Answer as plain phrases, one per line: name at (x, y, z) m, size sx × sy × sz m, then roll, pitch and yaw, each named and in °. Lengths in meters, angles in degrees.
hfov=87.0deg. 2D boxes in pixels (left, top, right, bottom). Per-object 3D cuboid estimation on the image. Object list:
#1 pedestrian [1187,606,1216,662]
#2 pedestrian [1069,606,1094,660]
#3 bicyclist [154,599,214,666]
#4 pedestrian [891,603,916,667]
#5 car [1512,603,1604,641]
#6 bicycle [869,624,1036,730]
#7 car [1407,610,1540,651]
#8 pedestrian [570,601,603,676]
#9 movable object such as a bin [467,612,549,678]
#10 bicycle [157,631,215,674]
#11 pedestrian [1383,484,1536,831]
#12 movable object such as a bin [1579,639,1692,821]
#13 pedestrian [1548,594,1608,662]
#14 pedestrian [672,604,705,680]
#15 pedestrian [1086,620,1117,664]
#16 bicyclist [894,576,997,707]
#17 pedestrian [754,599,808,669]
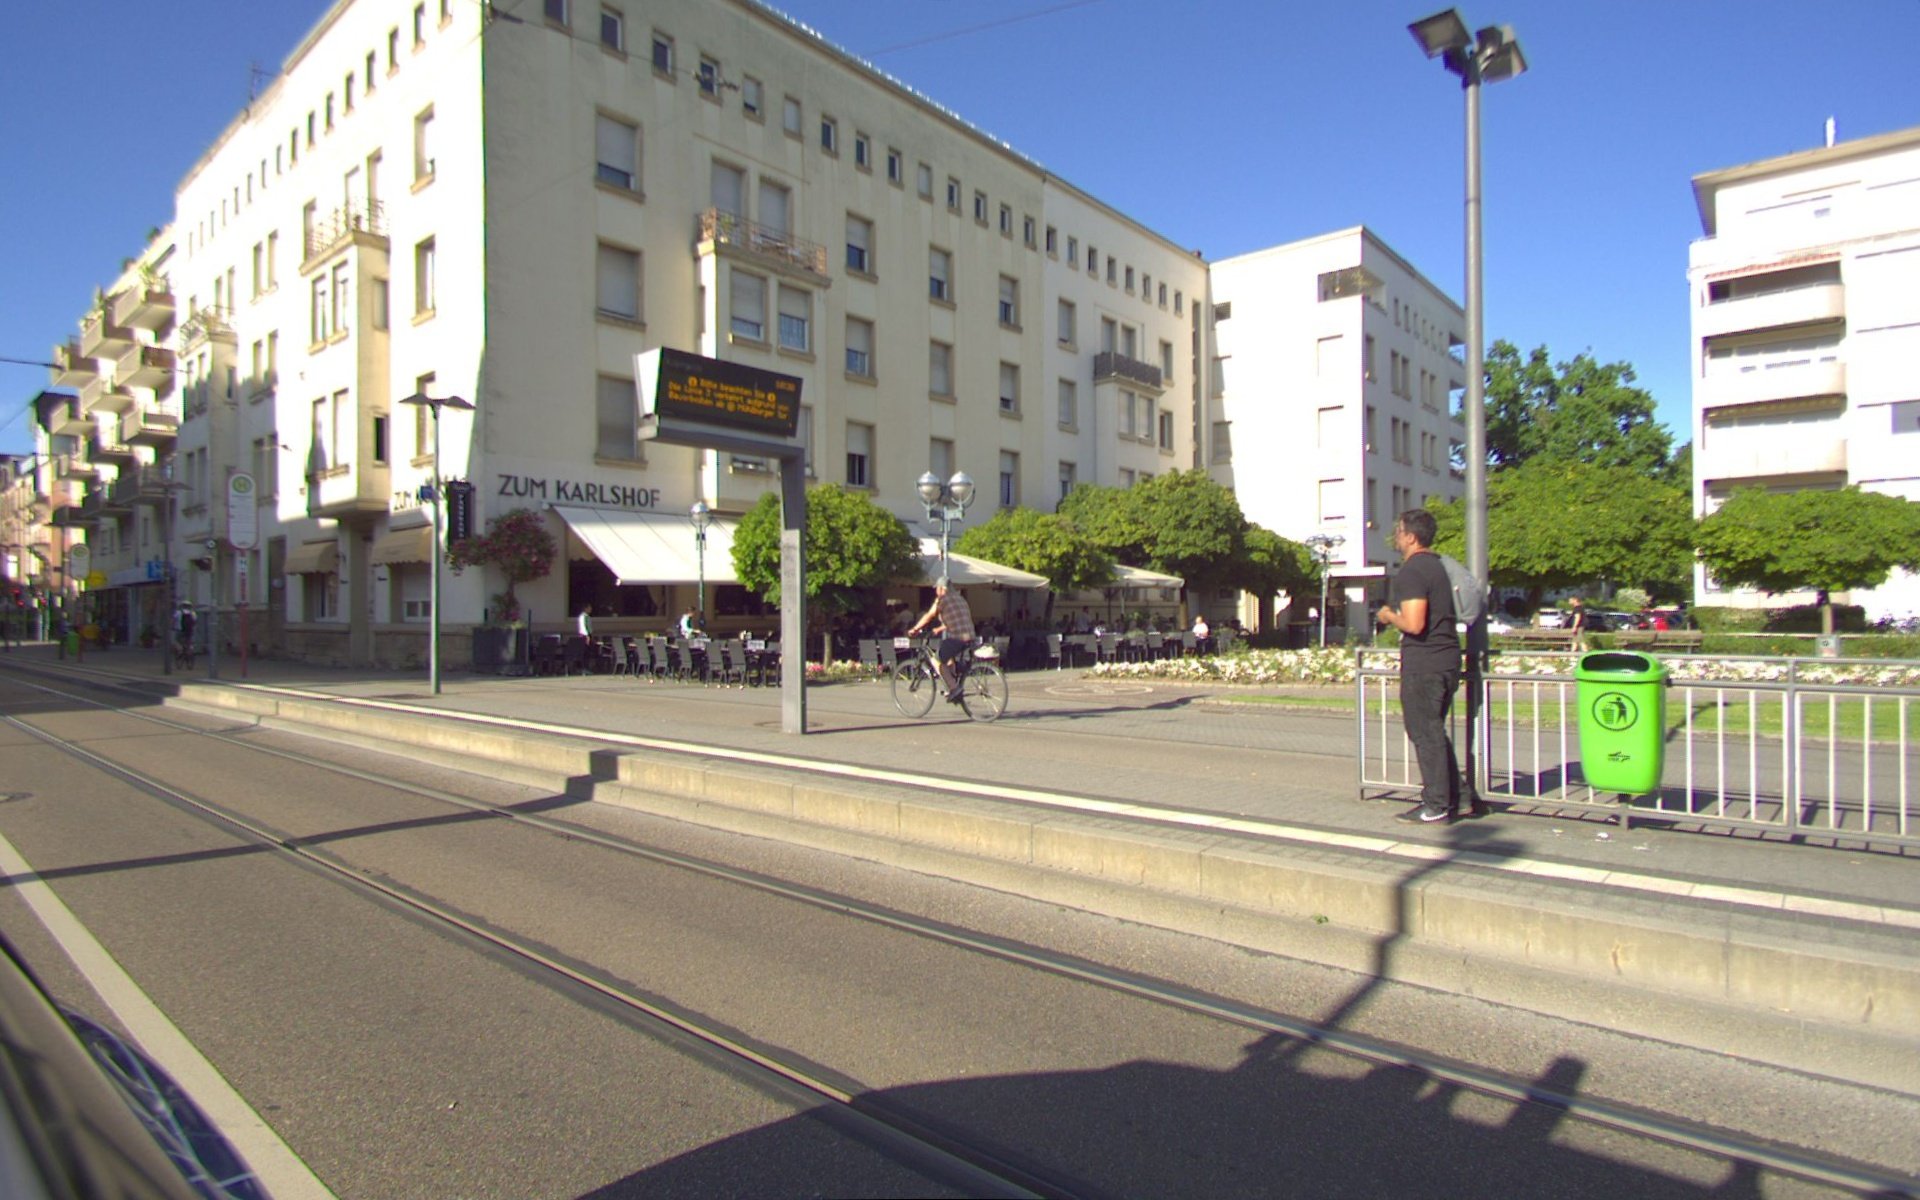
pedestrian at (7.682, 1.089, 32.216) m, size 0.710 × 1.750 × 0.673 m, roll -2°, pitch -4°, yaw 1°
pedestrian at (4.041, 1.117, 33.603) m, size 0.677 × 1.750 × 0.671 m, roll -3°, pitch -4°, yaw 14°
bicyclist at (-21.391, 0.885, 27.899) m, size 1.092 × 1.807 × 0.996 m, roll -1°, pitch -1°, yaw 33°
pedestrian at (-1.616, 1.004, 29.158) m, size 0.641 × 1.837 × 0.576 m, roll -1°, pitch -1°, yaw 5°
car at (23.937, 0.874, 40.539) m, size 2.932 × 1.497 × 1.399 m, roll -1°, pitch -1°, yaw 41°
bicycle at (-0.122, 0.851, 11.842) m, size 1.976 × 1.121 × 0.720 m, roll -1°, pitch -1°, yaw 42°
car at (17.609, 1.027, 34.794) m, size 3.713 × 1.310 × 1.973 m, roll -1°, pitch -1°, yaw 41°
pedestrian at (-8.472, 0.887, 22.954) m, size 0.662 × 1.657 × 0.753 m, roll 0°, pitch -4°, yaw -22°
movable object such as a bin at (-9.998, 0.970, 22.374) m, size 1.127 × 1.410 × 1.302 m, roll -1°, pitch -1°, yaw 40°
bicycle at (-21.387, 1.424, 27.945) m, size 2.031 × 1.134 × 0.705 m, roll -1°, pitch -1°, yaw 35°
pedestrian at (2.696, 0.298, 5.469) m, size 0.607 × 1.731 × 0.542 m, roll -1°, pitch -3°, yaw 43°
movable object such as a bin at (3.435, 0.637, 5.149) m, size 0.416 × 0.866 × 0.332 m, roll -1°, pitch -1°, yaw 44°
pedestrian at (16.871, 0.746, 27.639) m, size 1.177 × 1.801 × 1.066 m, roll -1°, pitch -1°, yaw 43°
pedestrian at (-6.090, 0.940, 22.706) m, size 0.662 × 1.657 × 0.678 m, roll -1°, pitch -4°, yaw -13°
pedestrian at (4.282, 1.277, 30.574) m, size 0.672 × 1.280 × 0.636 m, roll -5°, pitch -5°, yaw 36°
bicyclist at (-0.166, 0.462, 11.873) m, size 0.877 × 1.466 × 0.819 m, roll -1°, pitch 0°, yaw 42°
pedestrian at (-4.422, 0.851, 25.033) m, size 0.755 × 1.657 × 1.054 m, roll -5°, pitch -5°, yaw 36°
